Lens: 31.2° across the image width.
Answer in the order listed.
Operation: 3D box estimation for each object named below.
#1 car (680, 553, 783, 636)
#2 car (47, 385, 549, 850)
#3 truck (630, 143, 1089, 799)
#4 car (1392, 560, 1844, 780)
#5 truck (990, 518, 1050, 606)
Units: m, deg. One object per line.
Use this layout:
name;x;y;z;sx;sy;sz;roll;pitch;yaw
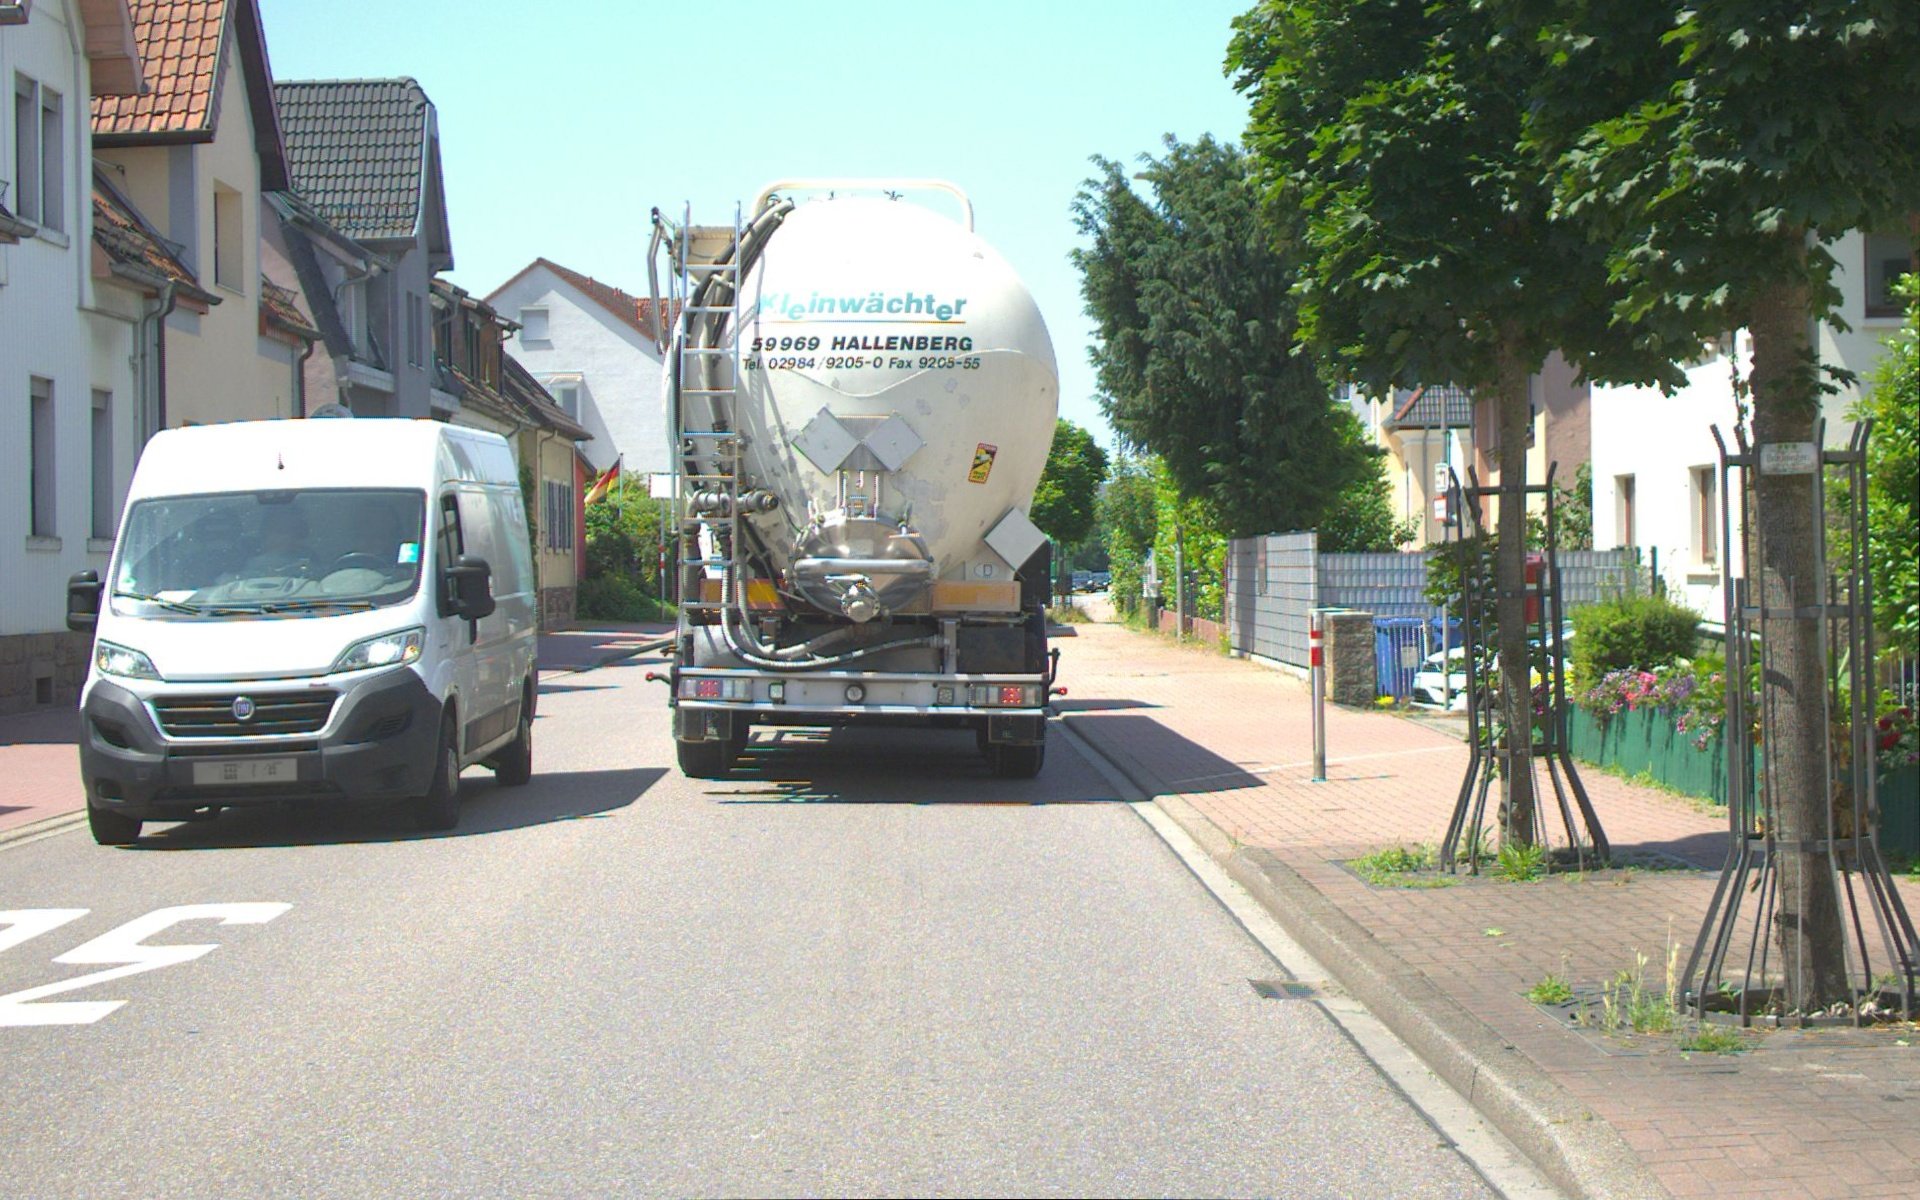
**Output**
car;-4.664;-0.127;70.660;1.851;1.566;4.255;-3;0;-1
car;-3.930;0.056;21.553;2.069;2.446;6.008;-2;1;-2
truck;-0.710;-0.794;24.980;2.732;3.947;8.142;1;0;-1
car;6.827;0.708;35.996;4.170;1.581;1.907;9;0;0
truck;2.298;-1.424;128.833;1.994;3.126;9.447;1;1;2
